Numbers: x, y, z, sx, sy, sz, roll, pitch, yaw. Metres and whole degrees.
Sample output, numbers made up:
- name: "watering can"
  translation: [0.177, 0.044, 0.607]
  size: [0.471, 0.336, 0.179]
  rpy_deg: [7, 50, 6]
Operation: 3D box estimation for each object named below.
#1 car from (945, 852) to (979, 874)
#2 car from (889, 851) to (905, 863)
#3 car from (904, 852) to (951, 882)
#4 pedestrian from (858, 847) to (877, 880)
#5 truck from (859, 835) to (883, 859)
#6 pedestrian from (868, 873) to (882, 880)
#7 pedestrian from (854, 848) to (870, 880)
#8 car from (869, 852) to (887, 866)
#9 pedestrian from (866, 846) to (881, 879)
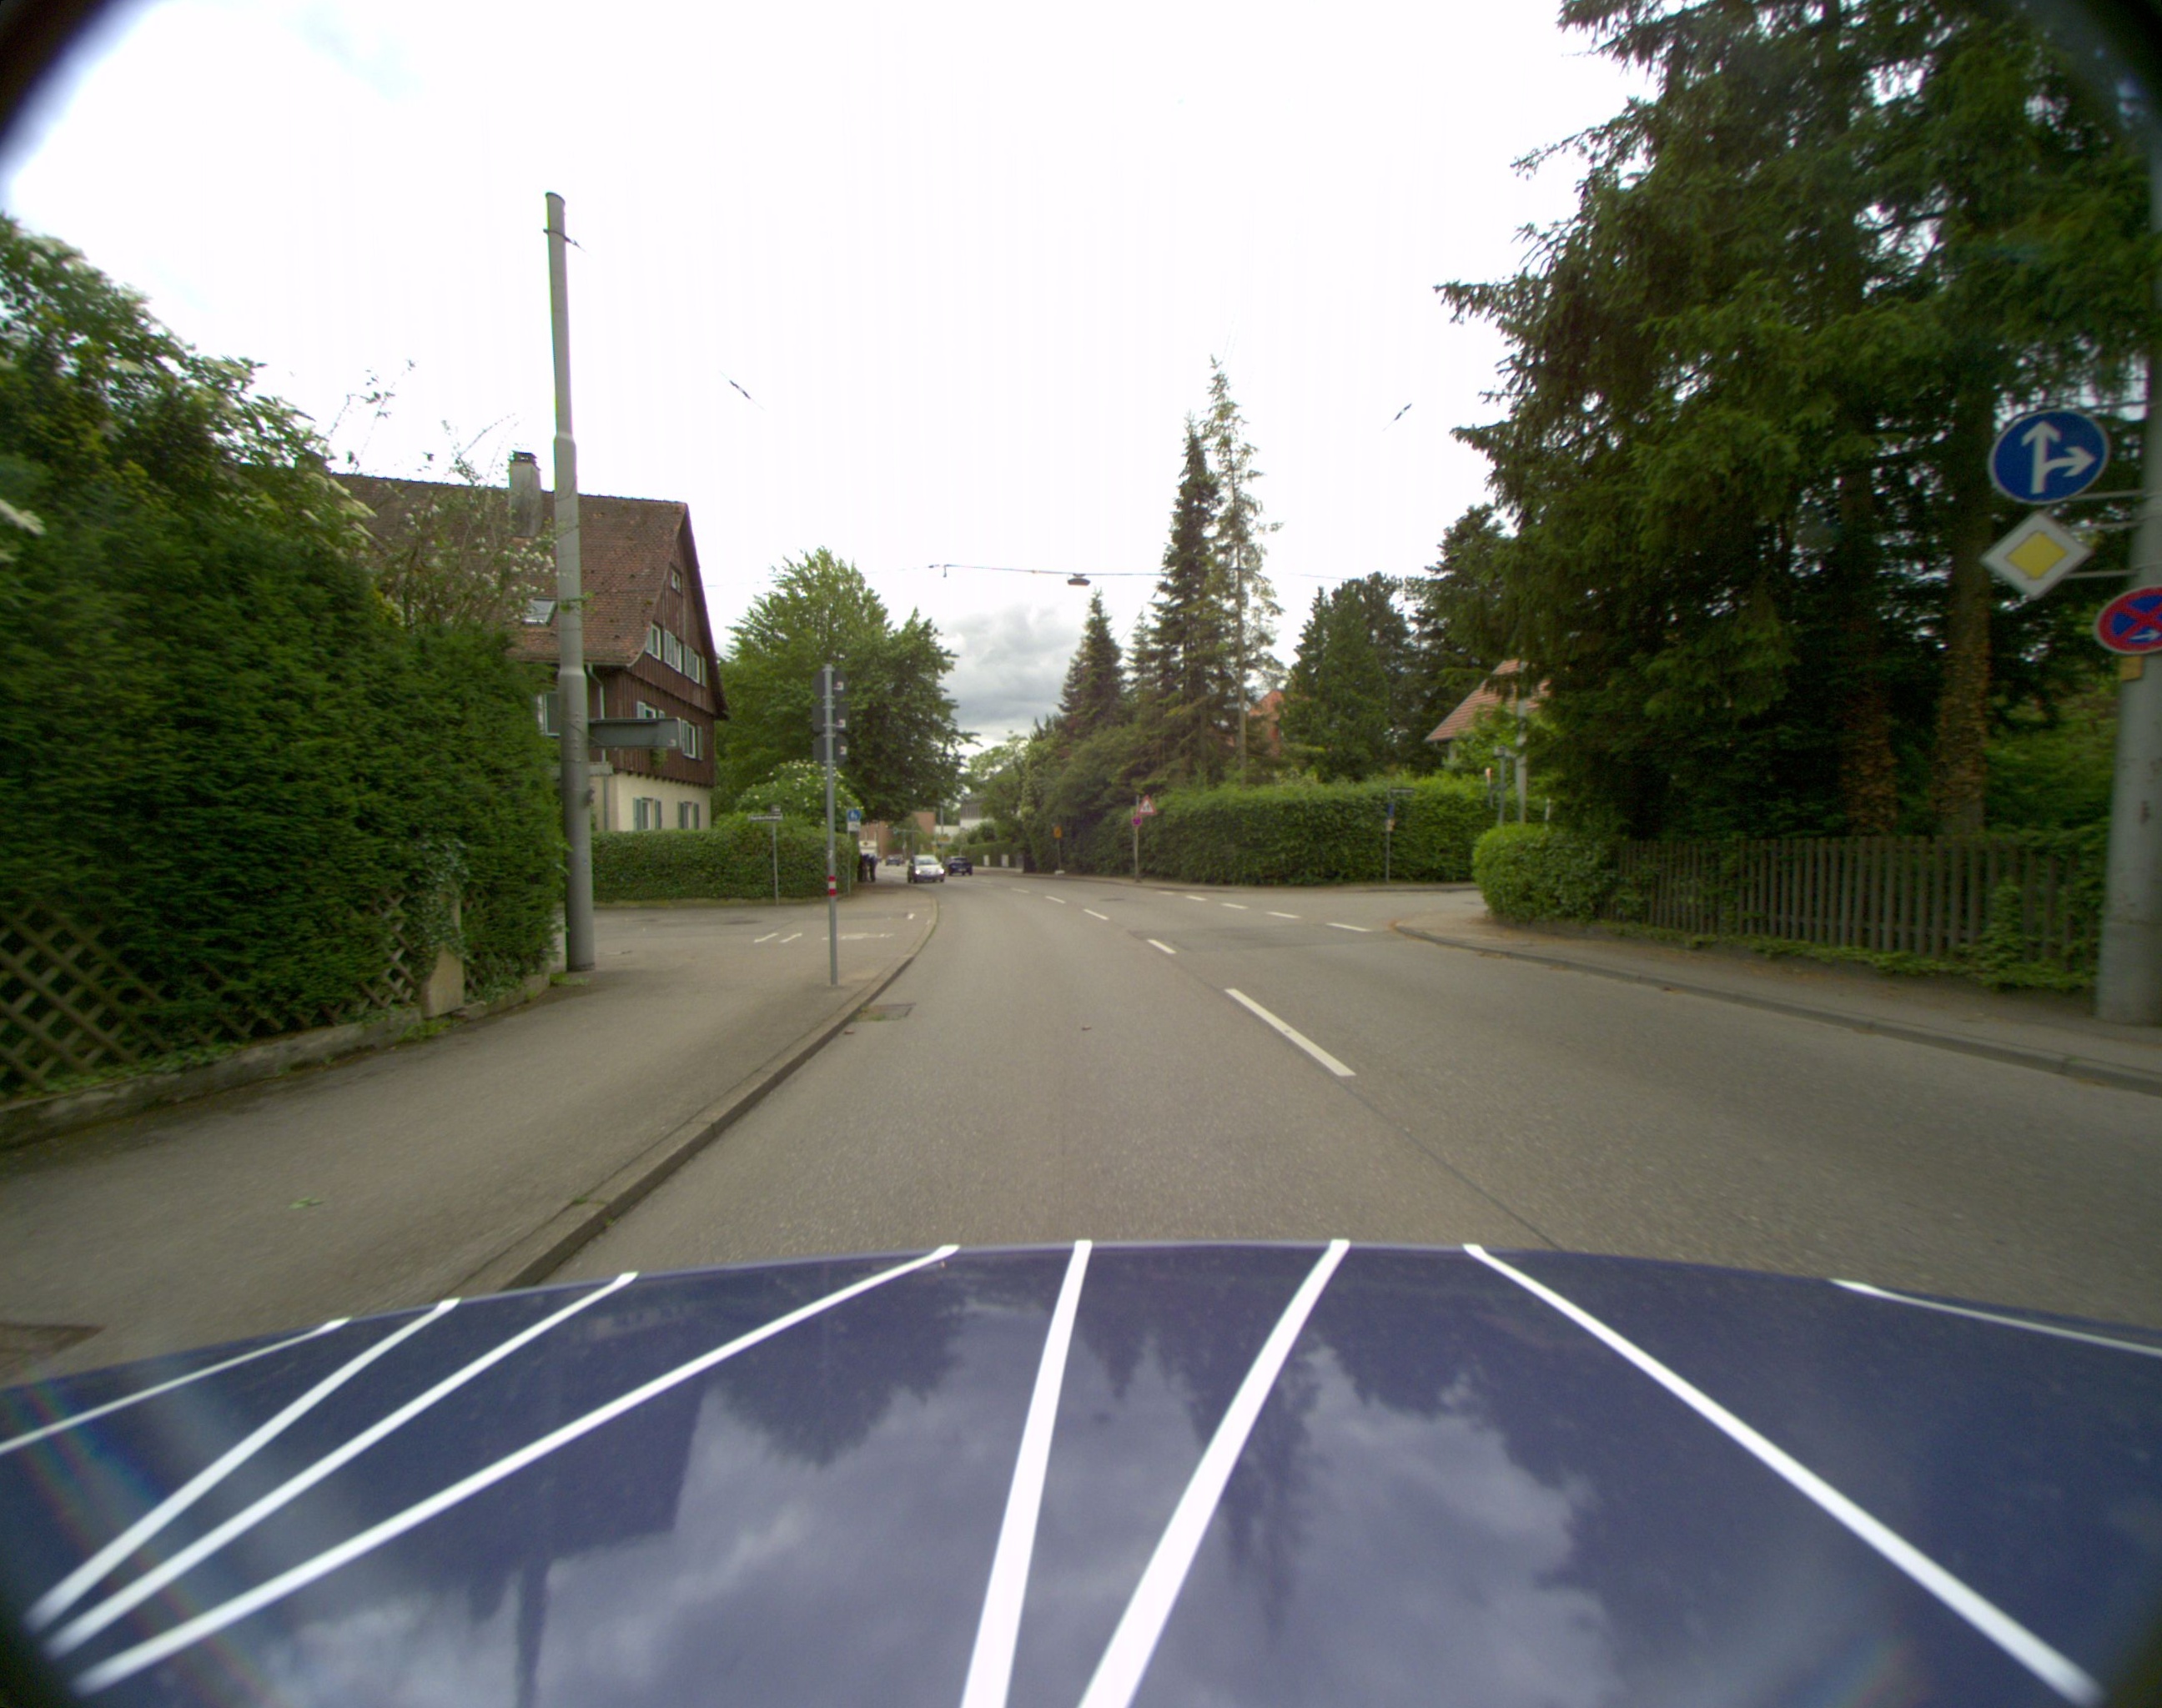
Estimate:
- name: "car"
  translation: [-8.920, 0.635, 56.510]
  size: [1.764, 1.431, 4.086]
  rpy_deg: [-3, 2, -19]
- name: "car"
  translation: [-24.961, 0.412, 103.243]
  size: [1.687, 1.463, 4.011]
  rpy_deg: [-2, 1, -19]
- name: "car"
  translation: [-8.970, 0.713, 44.147]
  size: [2.002, 1.587, 3.992]
  rpy_deg: [-2, 1, -21]
- name: "pedestrian"
  translation: [-11.728, 0.536, 41.746]
  size: [0.671, 1.797, 0.692]
  rpy_deg: [0, 1, 28]
- name: "truck"
  translation: [-31.355, -1.136, 113.366]
  size: [2.789, 3.442, 7.478]
  rpy_deg: [-1, 2, -21]
- name: "pedestrian"
  translation: [-12.153, 1.315, 44.849]
  size: [0.675, 0.391, 0.739]
  rpy_deg: [-1, 1, -22]
- name: "pedestrian"
  translation: [-12.546, 0.552, 43.527]
  size: [0.810, 1.797, 0.739]
  rpy_deg: [-1, 1, -22]
- name: "car"
  translation: [-26.571, 0.607, 99.354]
  size: [1.813, 1.707, 4.370]
  rpy_deg: [-2, 1, -21]
- name: "pedestrian"
  translation: [-11.450, 0.455, 41.952]
  size: [0.601, 1.797, 0.519]
  rpy_deg: [0, 1, 19]
